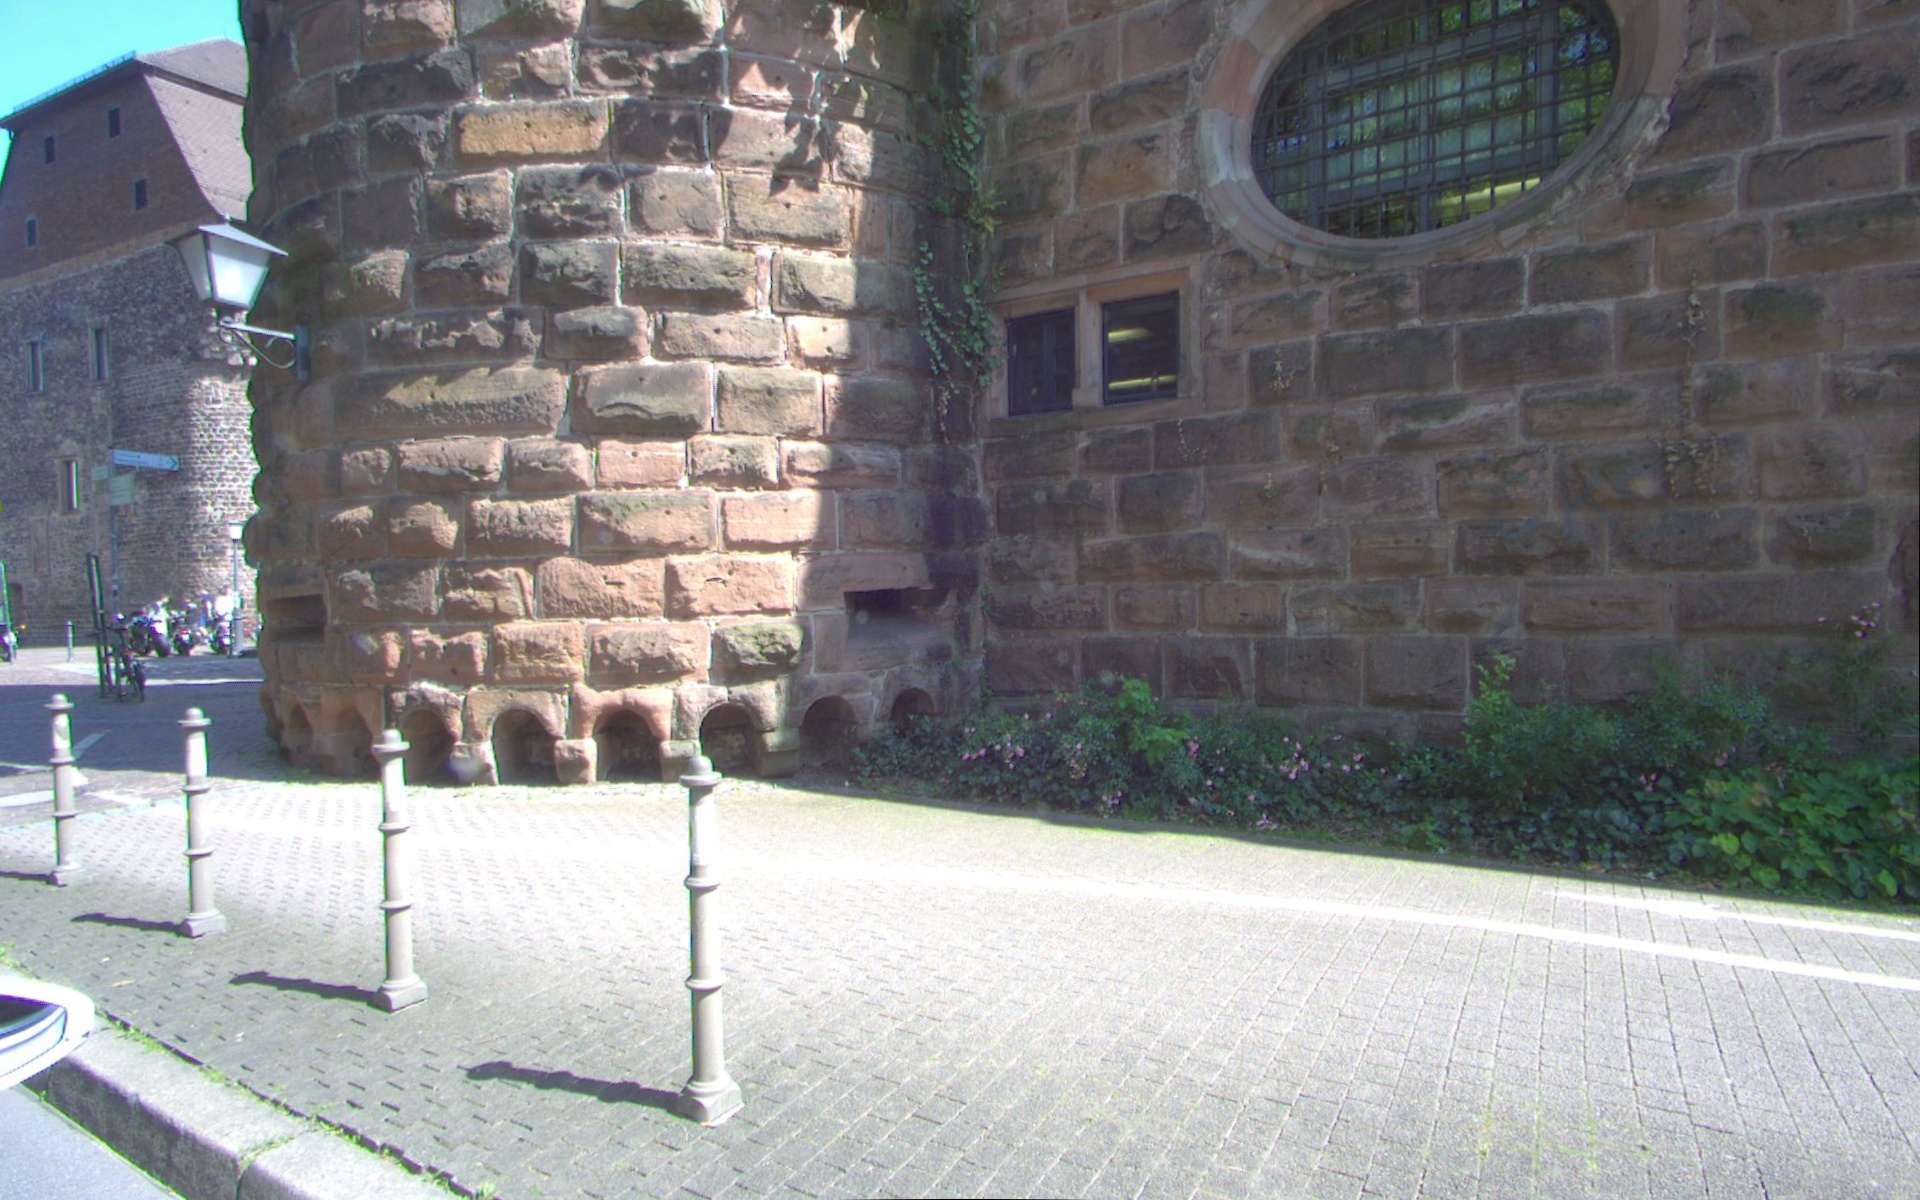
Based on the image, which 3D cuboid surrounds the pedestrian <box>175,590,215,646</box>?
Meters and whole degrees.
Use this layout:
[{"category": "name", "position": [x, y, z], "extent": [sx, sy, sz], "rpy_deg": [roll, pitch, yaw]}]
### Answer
[{"category": "pedestrian", "position": [-25.368, 0.597, 33.216], "extent": [0.832, 1.826, 0.653], "rpy_deg": [0, 0, -15]}]

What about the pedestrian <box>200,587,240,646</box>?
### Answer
[{"category": "pedestrian", "position": [-24.251, 0.547, 32.823], "extent": [0.805, 1.908, 0.670], "rpy_deg": [0, -1, -10]}]

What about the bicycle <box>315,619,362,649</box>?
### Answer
[{"category": "bicycle", "position": [-18.378, 1.000, 29.613], "extent": [1.898, 0.831, 0.353], "rpy_deg": [0, -1, 32]}]

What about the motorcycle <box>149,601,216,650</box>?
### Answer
[{"category": "motorcycle", "position": [-20.657, 0.686, 26.598], "extent": [2.280, 1.251, 0.674], "rpy_deg": [-1, -2, 32]}]

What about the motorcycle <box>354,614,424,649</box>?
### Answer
[{"category": "motorcycle", "position": [-17.944, 0.982, 31.502], "extent": [0.474, 1.067, 1.858], "rpy_deg": [-1, -2, 40]}]

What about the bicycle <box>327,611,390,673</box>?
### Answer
[{"category": "bicycle", "position": [-11.946, 0.807, 19.870], "extent": [1.707, 1.178, 0.445], "rpy_deg": [0, 1, 36]}]

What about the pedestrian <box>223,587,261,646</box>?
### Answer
[{"category": "pedestrian", "position": [-24.153, 0.565, 33.676], "extent": [0.805, 1.944, 0.670], "rpy_deg": [0, -1, -9]}]

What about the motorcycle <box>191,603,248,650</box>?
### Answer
[{"category": "motorcycle", "position": [-20.161, 0.728, 27.251], "extent": [2.002, 1.251, 0.545], "rpy_deg": [-1, -2, 32]}]

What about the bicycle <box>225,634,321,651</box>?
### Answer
[{"category": "bicycle", "position": [-17.562, 1.085, 25.625], "extent": [1.916, 0.386, 0.909], "rpy_deg": [0, -2, -44]}]

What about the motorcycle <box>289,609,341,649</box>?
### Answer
[{"category": "motorcycle", "position": [-18.137, 0.817, 28.145], "extent": [1.814, 1.087, 0.506], "rpy_deg": [-1, -2, 32]}]

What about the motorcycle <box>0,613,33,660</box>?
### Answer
[{"category": "motorcycle", "position": [-22.152, 0.823, 23.031], "extent": [2.453, 1.026, 0.565], "rpy_deg": [0, 1, 32]}]

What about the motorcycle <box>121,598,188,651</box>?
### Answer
[{"category": "motorcycle", "position": [-20.500, 0.631, 25.469], "extent": [2.169, 1.282, 0.654], "rpy_deg": [-1, -1, 32]}]

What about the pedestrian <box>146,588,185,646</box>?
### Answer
[{"category": "pedestrian", "position": [-23.896, 0.501, 30.128], "extent": [0.799, 1.684, 0.652], "rpy_deg": [-1, 1, -33]}]

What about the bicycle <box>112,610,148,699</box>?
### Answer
[{"category": "bicycle", "position": [-11.990, 0.756, 14.450], "extent": [1.750, 1.220, 0.192], "rpy_deg": [0, 1, 44]}]

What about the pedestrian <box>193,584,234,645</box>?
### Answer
[{"category": "pedestrian", "position": [-25.453, 0.511, 34.154], "extent": [0.861, 2.039, 0.732], "rpy_deg": [0, -1, 9]}]
